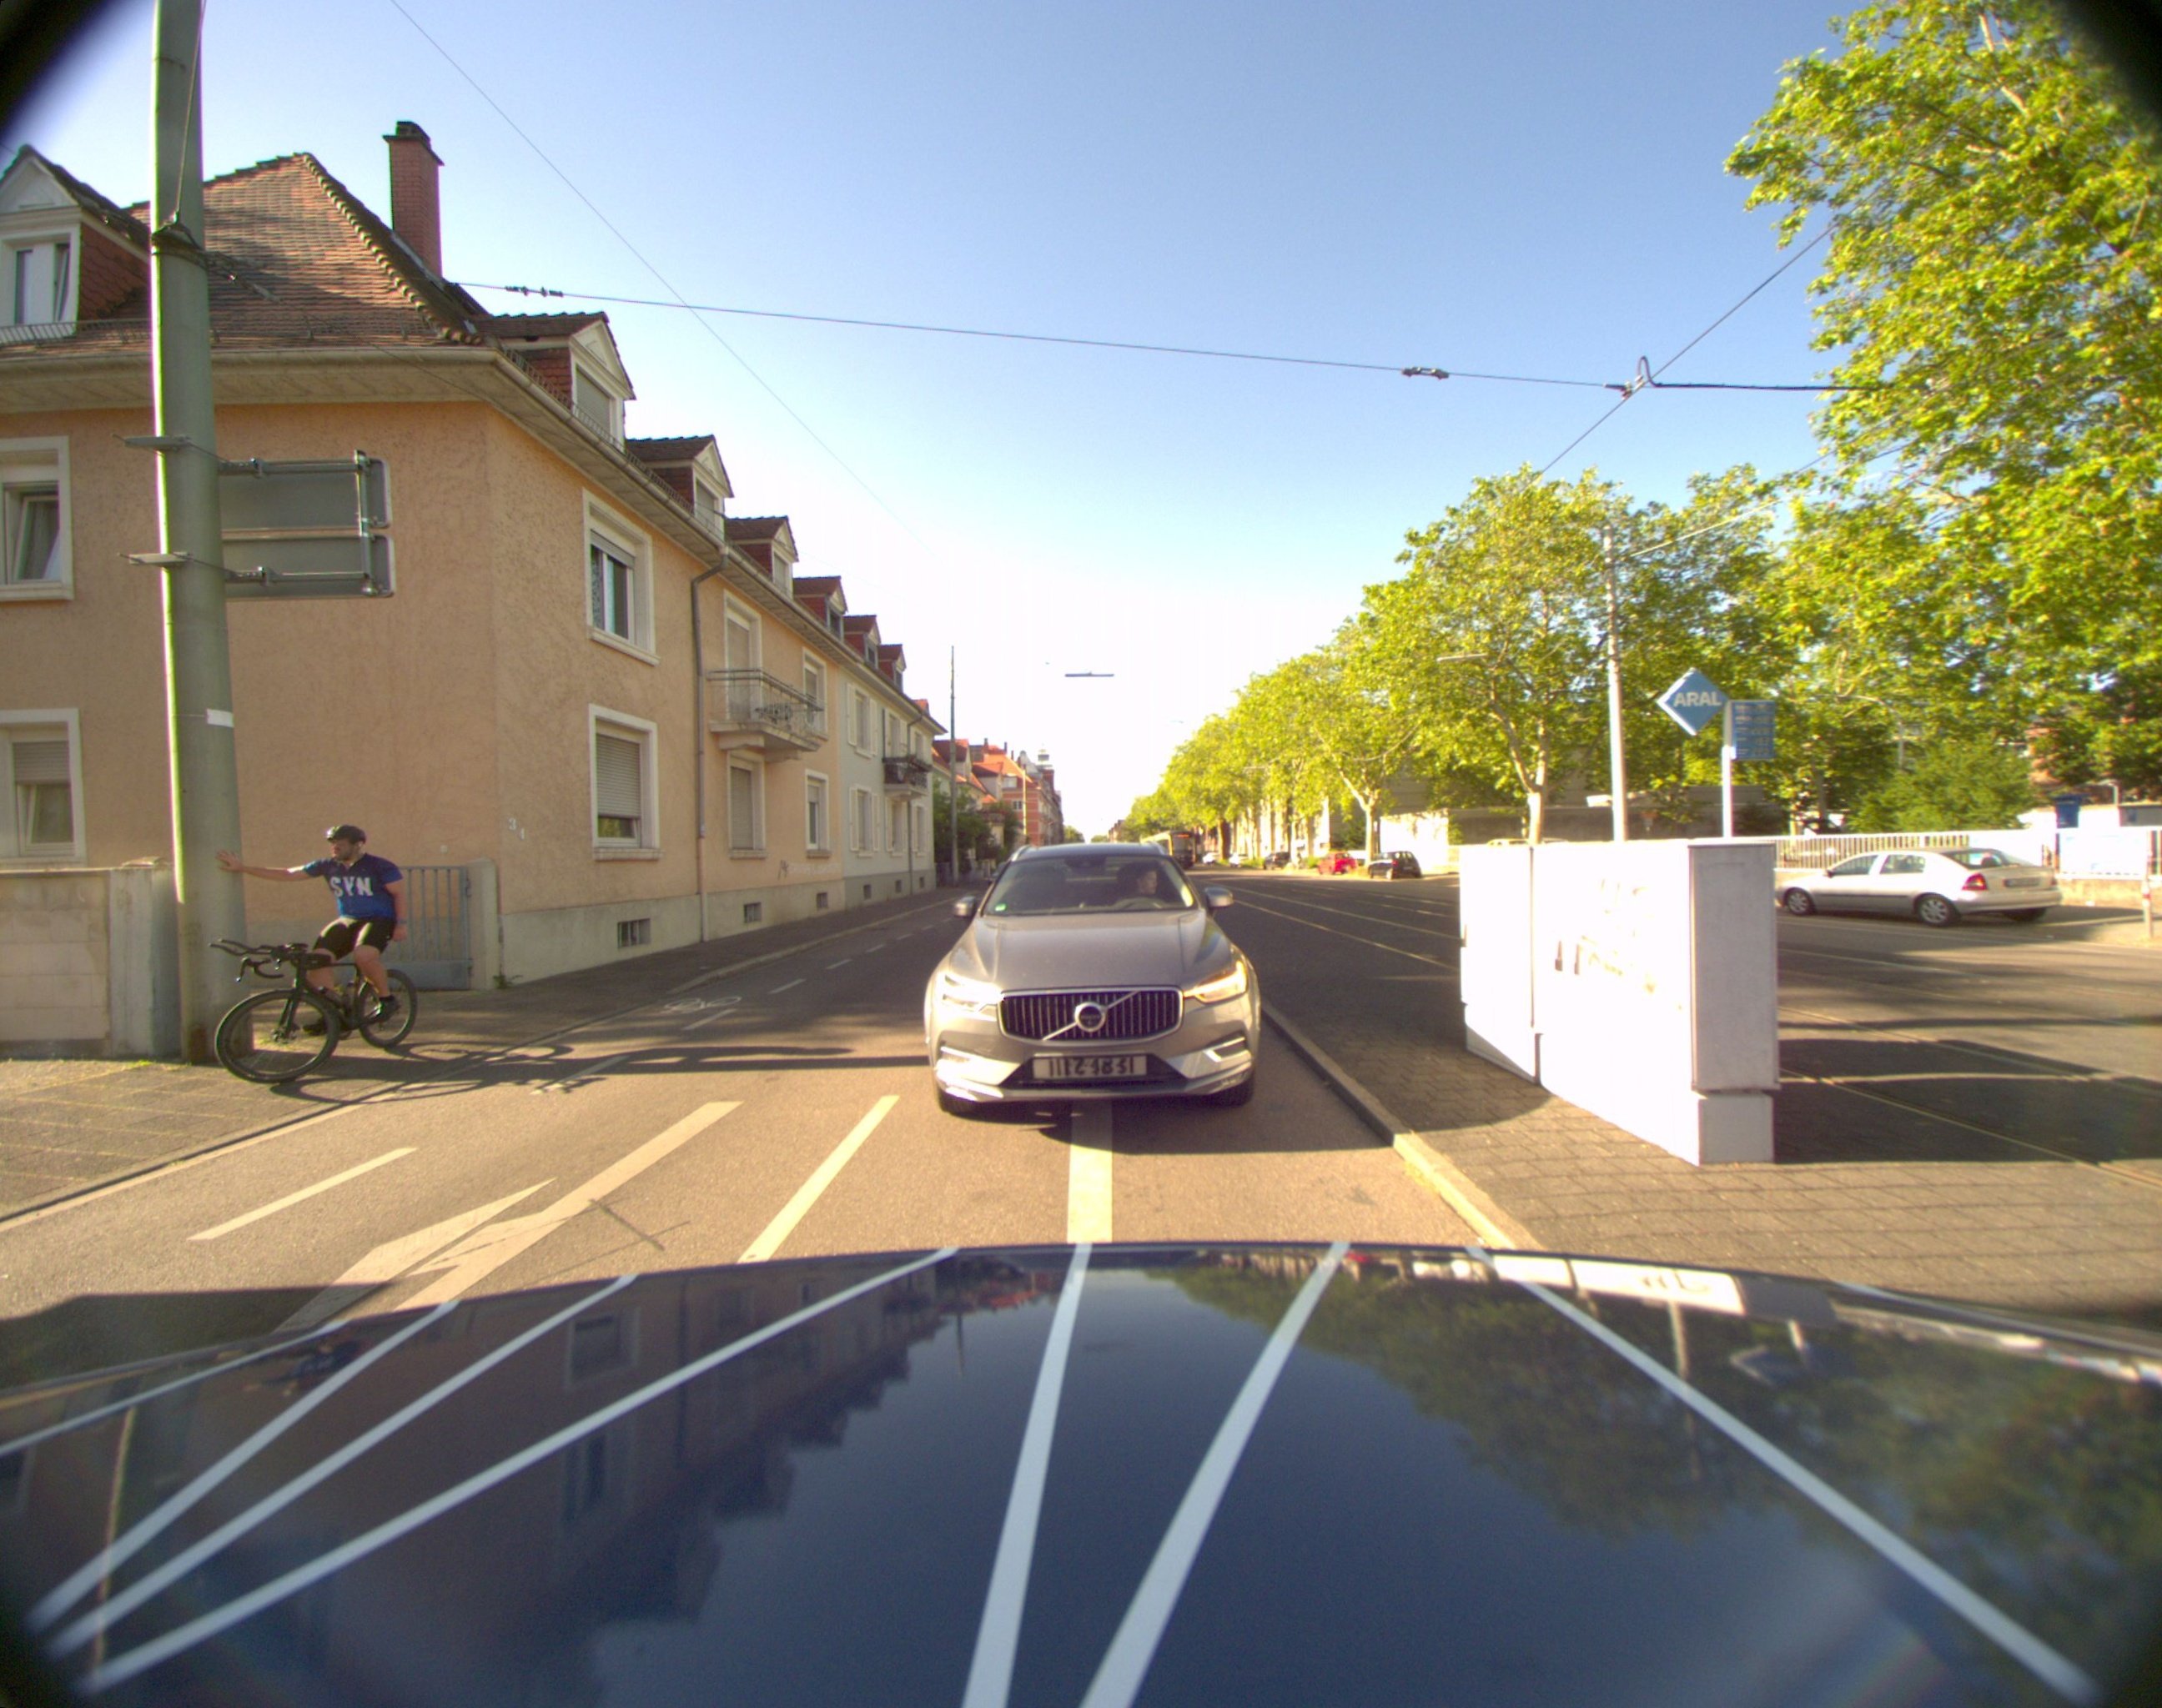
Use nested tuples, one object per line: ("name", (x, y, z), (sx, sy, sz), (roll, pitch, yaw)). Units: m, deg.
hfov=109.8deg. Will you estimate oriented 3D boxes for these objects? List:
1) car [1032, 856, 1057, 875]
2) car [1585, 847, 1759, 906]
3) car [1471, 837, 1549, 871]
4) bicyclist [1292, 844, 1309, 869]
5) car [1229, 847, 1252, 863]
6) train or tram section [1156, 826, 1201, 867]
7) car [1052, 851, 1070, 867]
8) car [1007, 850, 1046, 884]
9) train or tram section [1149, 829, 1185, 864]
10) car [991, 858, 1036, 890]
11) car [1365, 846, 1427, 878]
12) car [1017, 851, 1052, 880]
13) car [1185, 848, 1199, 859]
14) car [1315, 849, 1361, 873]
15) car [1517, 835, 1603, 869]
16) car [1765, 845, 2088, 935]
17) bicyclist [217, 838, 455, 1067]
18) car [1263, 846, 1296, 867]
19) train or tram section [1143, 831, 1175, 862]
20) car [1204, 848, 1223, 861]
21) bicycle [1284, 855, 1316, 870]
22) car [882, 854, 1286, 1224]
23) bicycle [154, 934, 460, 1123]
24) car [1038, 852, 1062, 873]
("car", (-2.882, 0.852, 60.392), (1.808, 1.402, 3.999), (-1, 0, -1))
("car", (16.513, 0.561, 21.535), (1.845, 1.400, 4.138), (-4, 0, 4))
("car", (21.745, -0.034, 38.700), (1.845, 1.524, 4.001), (-4, 0, 4))
("bicyclist", (16.759, 0.191, 58.016), (0.722, 1.853, 1.068), (-2, 1, -31))
("car", (17.487, 0.110, 83.529), (1.845, 1.664, 4.098), (-4, 0, 3))
("train or tram section", (8.926, -0.700, 70.754), (2.862, 3.456, 10.181), (-2, 1, 0))
("car", (-2.246, 0.542, 85.470), (1.999, 1.641, 4.658), (-1, 0, -1))
("car", (-2.967, 0.678, 42.298), (1.847, 1.742, 4.144), (-1, 0, 0))
("train or tram section", (9.030, -0.811, 80.904), (2.843, 3.456, 10.182), (-2, 1, 1))
("car", (-3.233, 0.939, 36.962), (1.847, 1.412, 3.999), (-1, 0, -1))
("car", (16.963, 0.401, 41.072), (1.845, 1.524, 4.001), (-4, 0, 4))
("car", (-2.793, 0.664, 46.673), (1.847, 1.681, 4.000), (-1, 0, 0))
("car", (18.367, -0.016, 125.396), (1.845, 1.664, 4.098), (-4, 0, 3))
("car", (16.958, 0.438, 50.297), (1.845, 1.400, 4.001), (-4, 0, 3))
("car", (24.039, -0.118, 38.322), (1.845, 1.524, 4.000), (-4, 0, 2))
("car", (16.231, 0.610, 14.963), (1.846, 1.400, 3.999), (-4, 0, -1))
("bicyclist", (-6.174, 0.770, 6.359), (1.071, 1.728, 0.853), (4, 1, 1))
("car", (17.165, 0.217, 65.881), (1.845, 1.607, 4.098), (-4, 0, 3))
("train or tram section", (9.232, -0.934, 91.096), (2.843, 3.456, 10.182), (-2, 1, 1))
("car", (17.593, 0.068, 100.892), (1.845, 1.664, 4.098), (-4, 0, 3))
("bicycle", (16.730, 0.651, 58.093), (0.655, 1.114, 2.527), (-2, 0, -30))
("car", (-0.004, 0.882, 5.773), (1.892, 1.695, 4.318), (-1, 0, -1))
("bicycle", (-5.935, 1.270, 5.991), (0.594, 1.045, 1.719), (4, 1, 1))
("car", (-2.678, 0.687, 65.755), (1.847, 1.681, 4.000), (-1, 0, 0))
